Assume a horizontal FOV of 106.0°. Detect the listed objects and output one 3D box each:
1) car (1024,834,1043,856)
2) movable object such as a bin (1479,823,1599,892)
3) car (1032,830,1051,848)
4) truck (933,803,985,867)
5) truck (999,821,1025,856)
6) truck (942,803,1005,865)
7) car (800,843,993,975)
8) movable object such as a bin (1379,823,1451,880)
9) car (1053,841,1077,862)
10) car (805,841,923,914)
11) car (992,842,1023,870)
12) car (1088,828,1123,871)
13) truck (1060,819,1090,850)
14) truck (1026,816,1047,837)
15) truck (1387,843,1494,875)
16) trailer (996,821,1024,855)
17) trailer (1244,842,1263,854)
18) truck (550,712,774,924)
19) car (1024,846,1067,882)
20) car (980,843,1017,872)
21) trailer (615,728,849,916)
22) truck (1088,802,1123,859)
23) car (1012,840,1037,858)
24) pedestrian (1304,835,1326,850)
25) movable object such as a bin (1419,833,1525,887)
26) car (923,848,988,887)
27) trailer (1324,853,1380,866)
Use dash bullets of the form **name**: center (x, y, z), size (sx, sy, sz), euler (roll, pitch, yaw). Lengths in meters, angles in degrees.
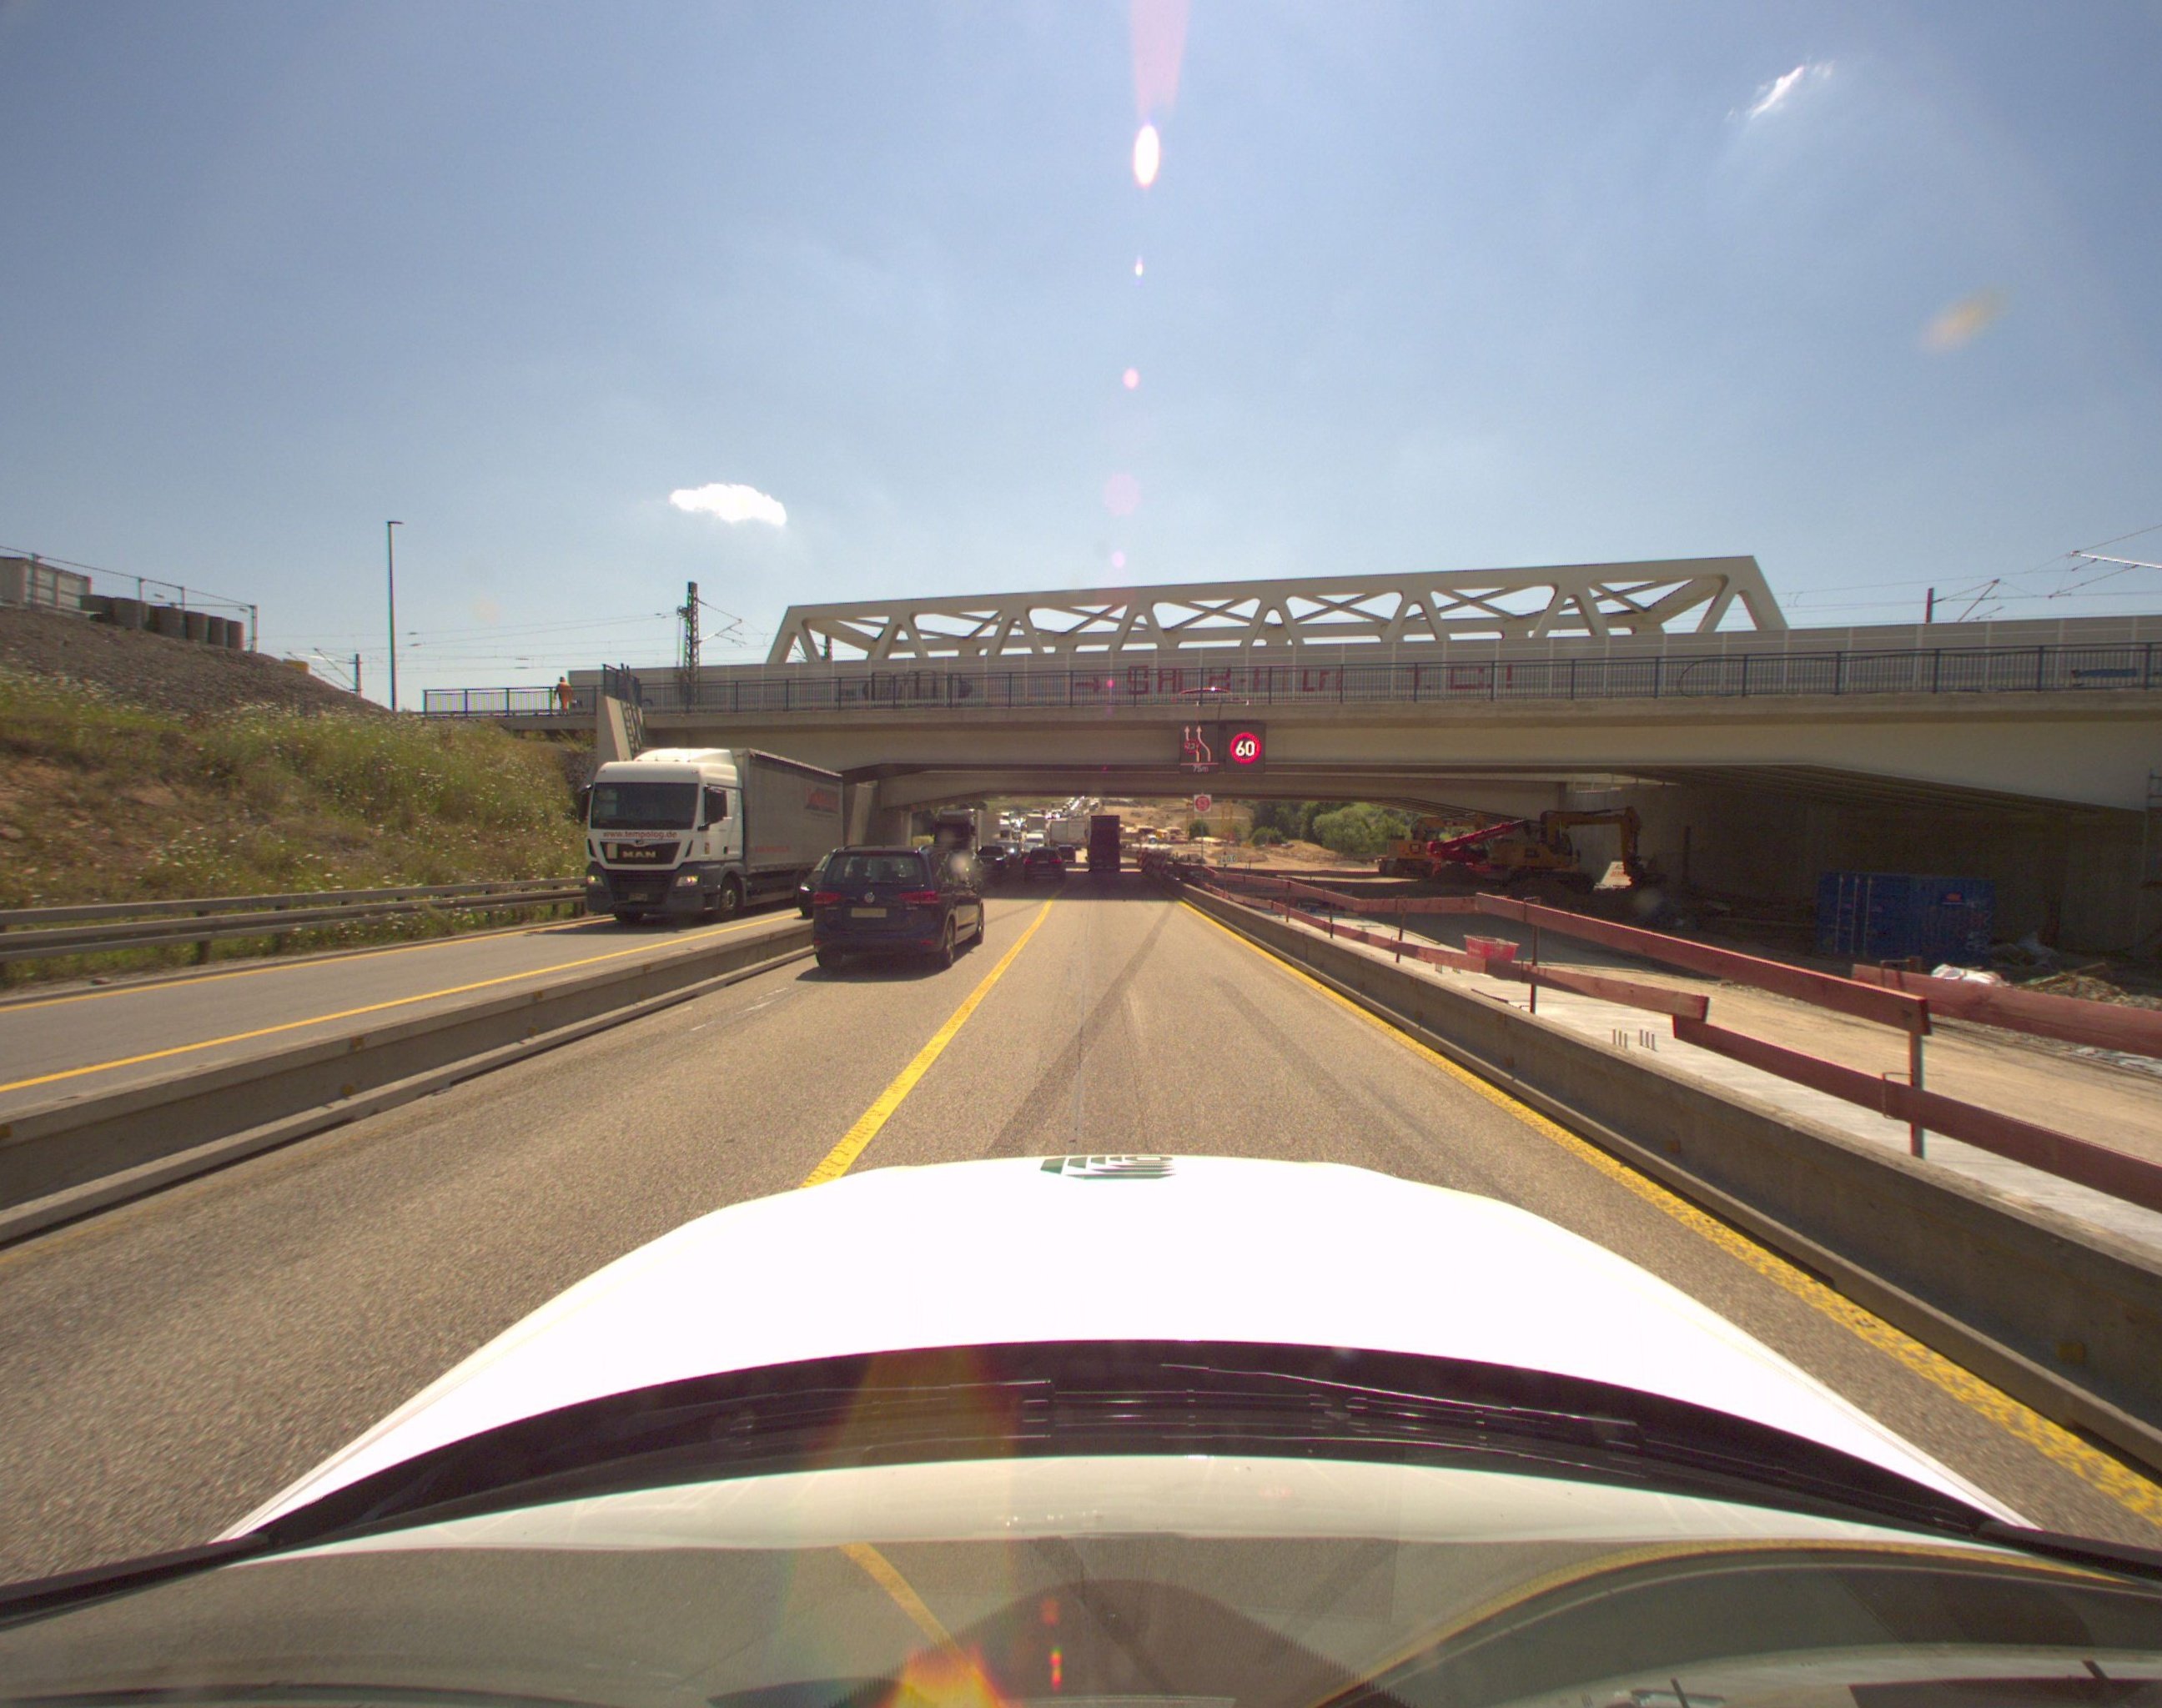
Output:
- **car**: center (-5.109, -1.013, 88.727), size (1.976, 2.330, 6.052), euler (0, 1, -3)
- **movable object such as a bin**: center (23.456, 0.178, 41.900), size (4.531, 3.287, 2.995), euler (2, -1, 5)
- **car**: center (-5.627, -2.127, 115.858), size (2.263, 2.354, 5.148), euler (0, 3, -8)
- **truck**: center (-8.312, -1.234, 56.014), size (2.649, 4.171, 5.188), euler (0, -1, 2)
- **truck**: center (-8.364, -1.901, 98.081), size (2.871, 4.050, 4.873), euler (1, 1, -8)
- **truck**: center (-8.095, -1.312, 63.049), size (2.759, 4.313, 13.493), euler (0, -1, 1)
- **car**: center (-2.522, 0.681, 12.281), size (1.727, 1.635, 4.392), euler (0, 0, 3)
- **movable object such as a bin**: center (21.792, -0.181, 53.283), size (3.855, 3.542, 2.912), euler (1, -1, 12)
- **car**: center (-1.337, -0.237, 70.273), size (1.827, 1.777, 4.391), euler (0, 0, 2)
- **car**: center (-5.657, 0.534, 21.888), size (1.849, 1.756, 4.610), euler (0, 1, 1)
- **car**: center (-5.153, 0.119, 57.510), size (1.794, 1.932, 4.967), euler (0, 1, 0)
- **car**: center (1.597, -0.269, 52.411), size (2.141, 2.611, 5.441), euler (0, -1, 2)
- **truck**: center (-0.850, -2.724, 110.569), size (3.181, 3.988, 6.723), euler (0, 3, -9)
- **truck**: center (-8.115, -4.976, 148.159), size (3.217, 3.360, 8.915), euler (0, -1, -8)
- **truck**: center (25.624, 0.358, 58.236), size (6.491, 2.073, 2.669), euler (1, 1, 4)
- **trailer**: center (-9.271, -2.086, 105.279), size (2.874, 4.039, 14.323), euler (1, 1, -7)
- **trailer**: center (23.980, -0.840, 113.300), size (1.619, 1.486, 3.824), euler (1, 1, -2)
- **truck**: center (-8.944, -0.685, 17.937), size (2.789, 4.150, 4.072), euler (0, -1, 0)
- **car**: center (-1.684, 0.452, 39.691), size (1.827, 1.635, 4.390), euler (0, 0, 1)
- **car**: center (-4.981, 0.165, 49.798), size (1.716, 1.609, 4.525), euler (1, 1, 1)
- **trailer**: center (-8.945, -0.678, 22.276), size (2.803, 4.174, 8.242), euler (0, -1, 0)
- **truck**: center (2.165, -2.231, 74.741), size (2.935, 4.944, 6.742), euler (0, 3, 0)
- **car**: center (-5.045, -0.439, 73.295), size (1.742, 1.609, 4.144), euler (0, 1, 2)
- **pedestrian**: center (33.932, -1.636, 118.116), size (1.987, 2.014, 4.000), euler (0, -1, 0)
- **movable object such as a bin**: center (23.524, 0.346, 49.165), size (5.214, 3.056, 2.500), euler (2, -1, 5)
- **car**: center (-5.152, 0.552, 34.047), size (1.849, 1.527, 4.774), euler (0, -1, 1)
- **trailer**: center (25.632, 0.480, 77.101), size (4.696, 1.219, 2.056), euler (0, -1, 1)
